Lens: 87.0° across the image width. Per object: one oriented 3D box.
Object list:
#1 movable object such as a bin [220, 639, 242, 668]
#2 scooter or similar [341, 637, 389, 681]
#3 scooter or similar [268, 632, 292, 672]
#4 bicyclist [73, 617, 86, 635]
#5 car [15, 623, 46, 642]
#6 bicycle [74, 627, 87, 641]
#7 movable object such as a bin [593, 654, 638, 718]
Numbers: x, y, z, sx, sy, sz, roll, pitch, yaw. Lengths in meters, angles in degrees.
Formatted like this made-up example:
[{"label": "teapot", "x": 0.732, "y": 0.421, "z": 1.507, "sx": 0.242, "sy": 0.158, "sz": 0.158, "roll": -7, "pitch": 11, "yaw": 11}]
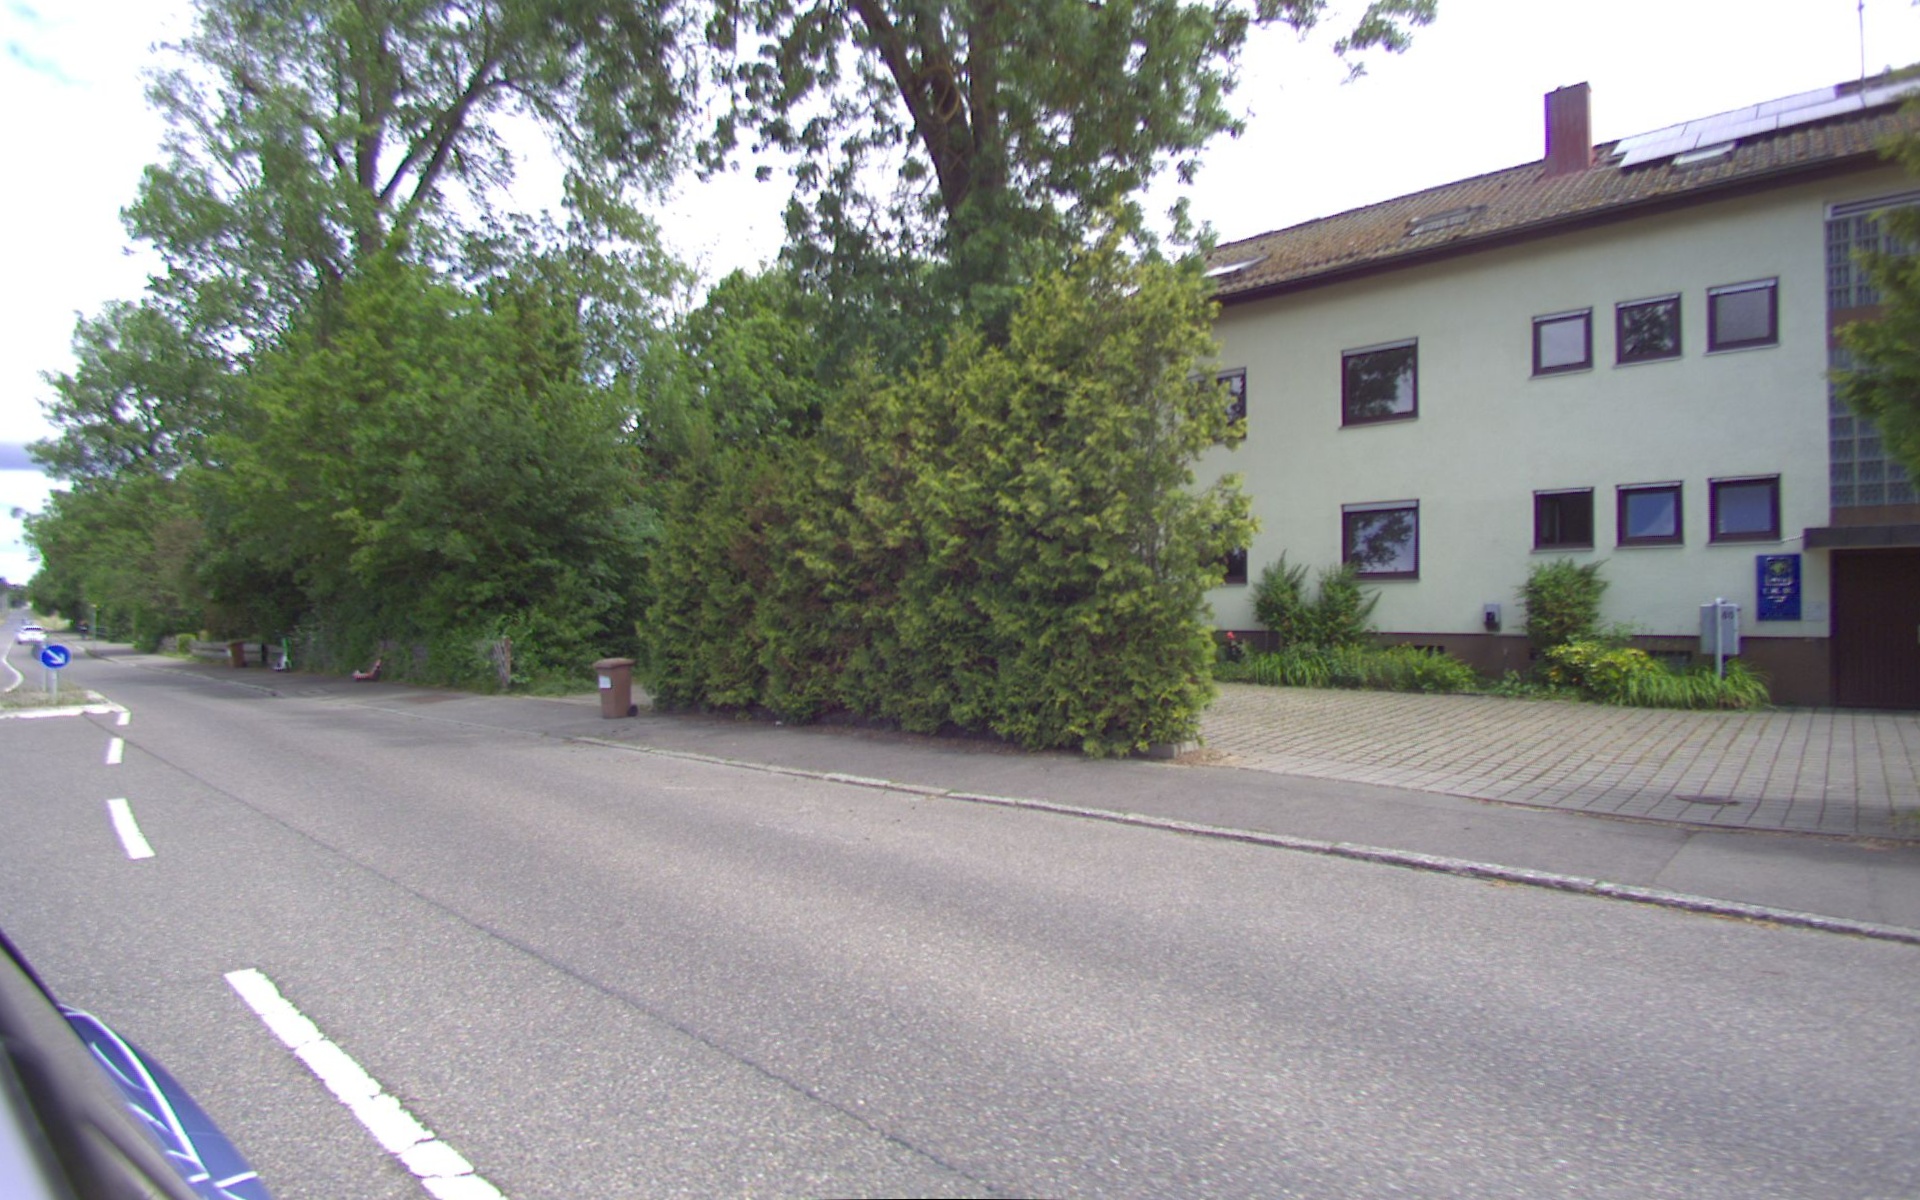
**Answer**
[{"label": "movable object such as a bin", "x": -25.311, "y": 1.849, "z": 35.134, "sx": 0.507, "sy": 0.952, "sz": 0.569, "roll": -1, "pitch": 0, "yaw": -44}, {"label": "scooter or similar", "x": -15.182, "y": 1.495, "z": 25.820, "sx": 1.208, "sy": 1.089, "sz": 0.474, "roll": -1, "pitch": 0, "yaw": 28}, {"label": "scooter or similar", "x": -21.173, "y": 1.605, "z": 31.501, "sx": 0.403, "sy": 1.208, "sz": 1.641, "roll": 0, "pitch": -1, "yaw": -42}, {"label": "bicyclist", "x": -77.087, "y": 2.278, "z": 88.594, "sx": 0.769, "sy": 1.561, "sz": 0.870, "roll": 1, "pitch": -2, "yaw": -43}, {"label": "car", "x": -73.402, "y": 2.556, "z": 79.938, "sx": 1.673, "sy": 1.441, "sz": 3.791, "roll": 3, "pitch": -3, "yaw": -42}, {"label": "bicycle", "x": -77.136, "y": 2.972, "z": 88.712, "sx": 0.746, "sy": 1.236, "sz": 2.310, "roll": 3, "pitch": -3, "yaw": -43}, {"label": "movable object such as a bin", "x": -5.426, "y": 1.345, "z": 15.939, "sx": 0.428, "sy": 0.937, "sz": 0.459, "roll": -1, "pitch": 3, "yaw": 30}]
